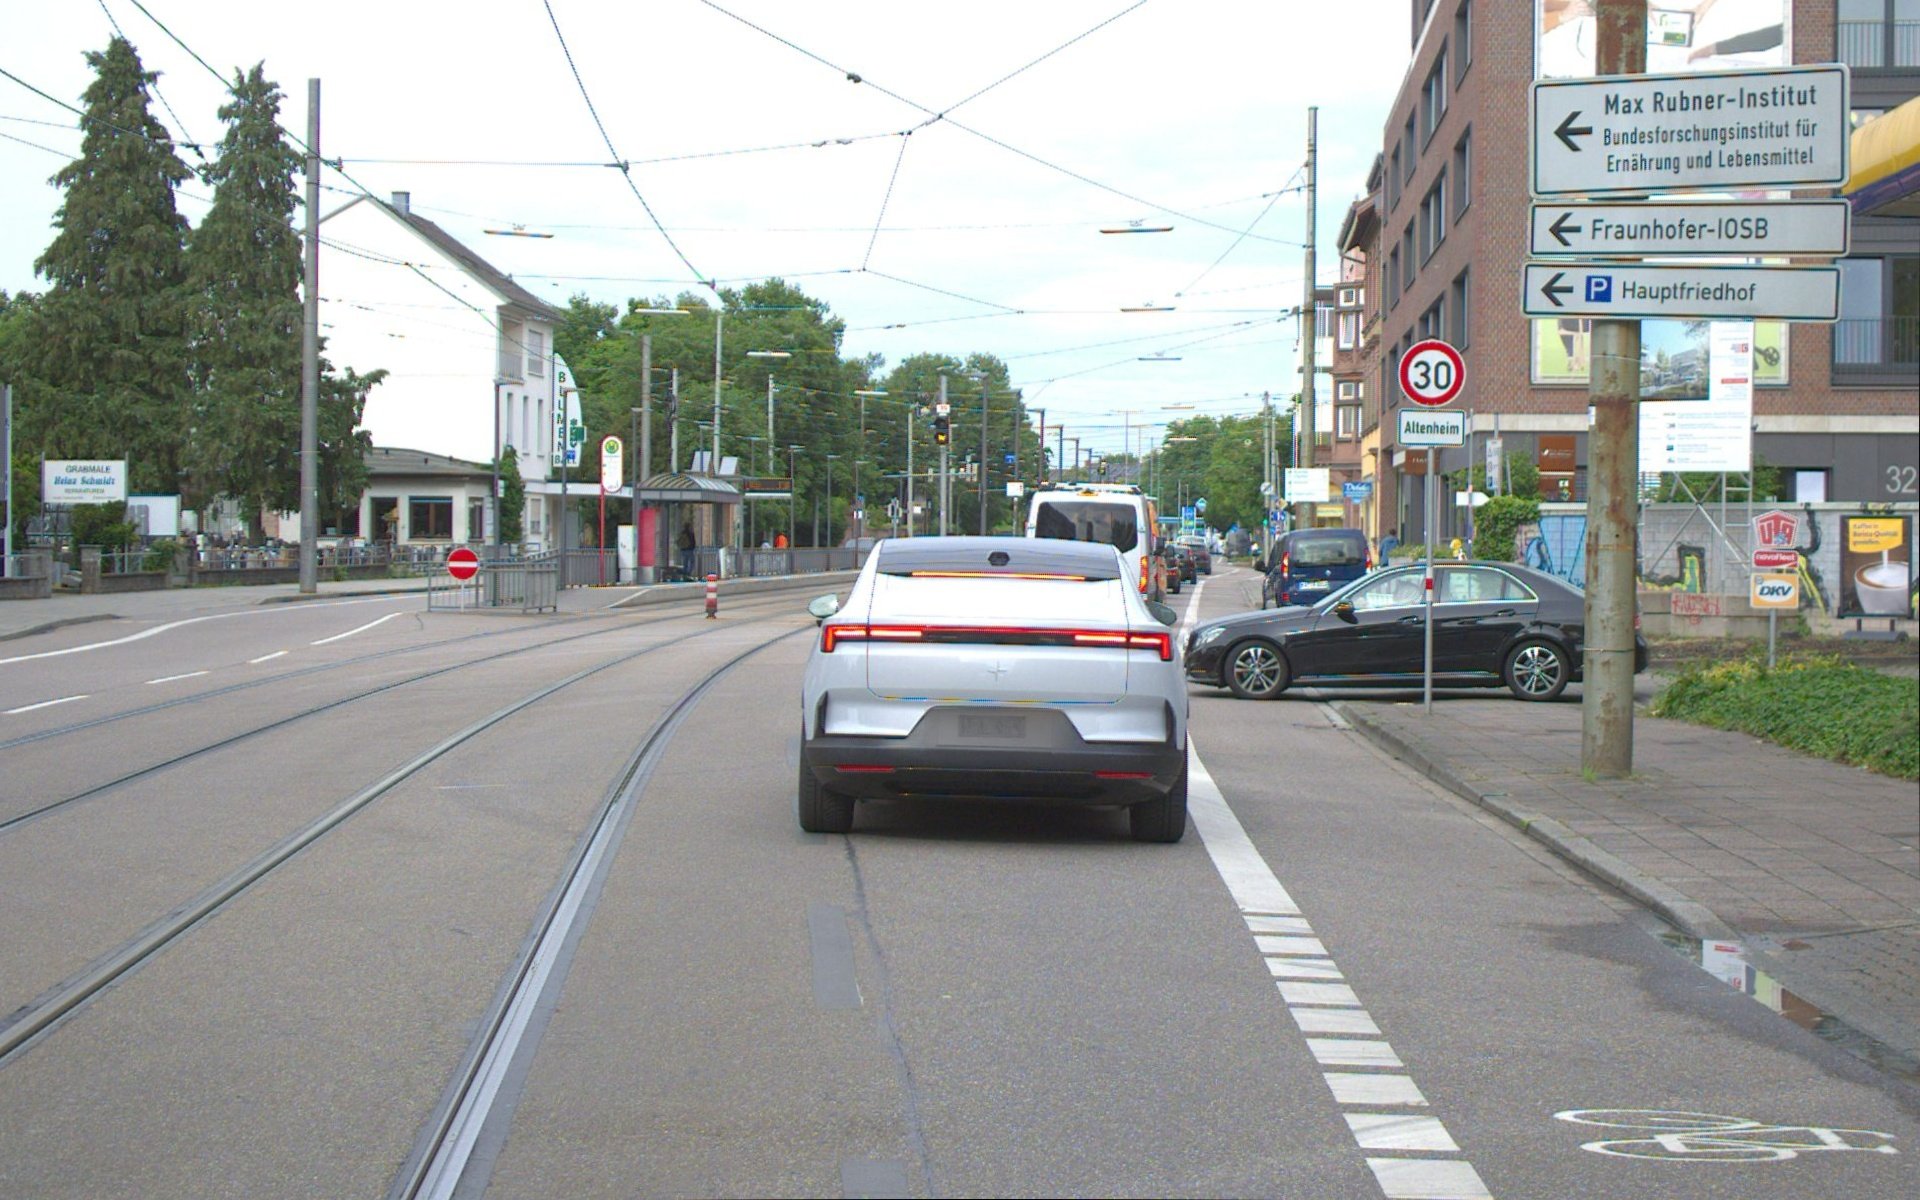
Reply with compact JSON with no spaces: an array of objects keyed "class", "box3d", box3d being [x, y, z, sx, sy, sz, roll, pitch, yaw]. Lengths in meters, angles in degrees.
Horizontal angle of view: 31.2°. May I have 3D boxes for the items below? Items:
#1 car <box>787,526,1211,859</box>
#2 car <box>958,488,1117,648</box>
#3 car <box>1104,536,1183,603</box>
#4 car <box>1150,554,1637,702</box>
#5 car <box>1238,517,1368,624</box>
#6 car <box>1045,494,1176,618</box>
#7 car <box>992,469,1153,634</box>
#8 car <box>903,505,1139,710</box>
[{"class":"car","box3d":[0.085,0.407,18.678,1.981,1.544,4.184,2,1,-3]},{"class":"car","box3d":[1.013,-0.430,46.630,1.993,2.007,4.000,2,0,0]},{"class":"car","box3d":[5.784,-0.972,108.695,1.993,2.007,4.001,2,0,-3]},{"class":"car","box3d":[4.536,0.263,35.758,4.872,1.422,1.952,1,1,12]},{"class":"car","box3d":[6.212,-0.538,62.573,1.874,1.817,4.096,2,0,0]},{"class":"car","box3d":[2.746,-0.809,63.786,2.139,2.138,4.744,2,0,0]},{"class":"car","box3d":[1.721,-0.758,54.340,2.216,2.415,4.952,2,0,-1]},{"class":"car","box3d":[0.509,0.047,32.335,1.968,1.750,3.838,2,0,-2]}]
